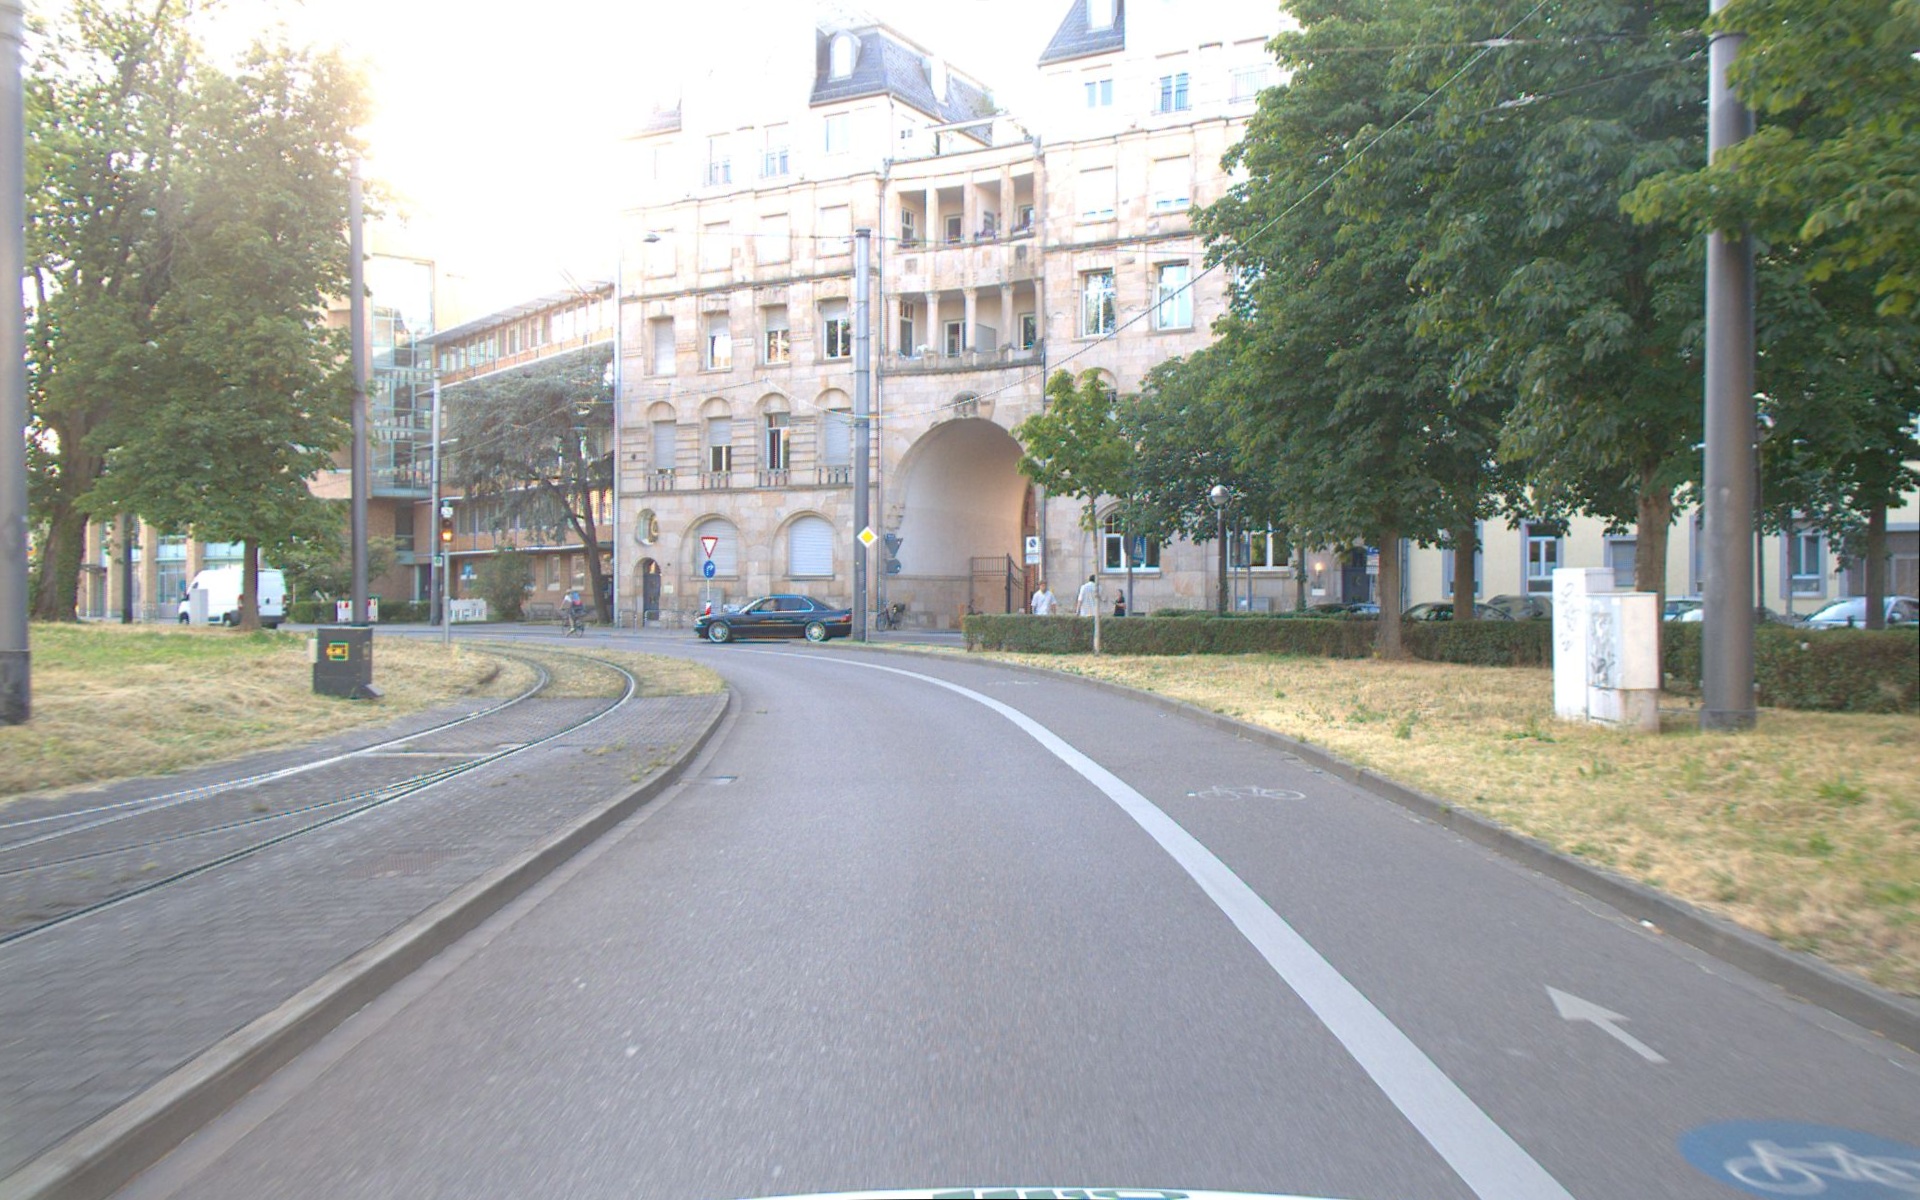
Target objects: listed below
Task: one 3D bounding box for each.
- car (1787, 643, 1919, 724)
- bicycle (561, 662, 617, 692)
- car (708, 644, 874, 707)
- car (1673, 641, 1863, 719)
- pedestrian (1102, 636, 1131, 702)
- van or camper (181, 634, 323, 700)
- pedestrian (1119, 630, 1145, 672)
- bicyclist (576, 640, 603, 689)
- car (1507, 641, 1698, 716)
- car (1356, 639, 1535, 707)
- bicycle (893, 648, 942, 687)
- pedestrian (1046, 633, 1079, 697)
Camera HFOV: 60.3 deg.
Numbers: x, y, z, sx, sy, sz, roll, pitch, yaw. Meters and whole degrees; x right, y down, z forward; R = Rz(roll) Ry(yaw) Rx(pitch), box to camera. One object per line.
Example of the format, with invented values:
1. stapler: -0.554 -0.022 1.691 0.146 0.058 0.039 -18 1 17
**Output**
1. car: 17.868 1.559 31.917 4.287 1.451 1.835 1 -2 -39
2. bicycle: -12.738 2.641 56.772 2.195 0.995 0.509 -1 -1 33
3. car: -4.955 2.219 48.950 4.655 1.793 1.821 0 -1 3
4. car: 16.390 1.585 33.472 4.287 1.451 1.835 1 -2 -39
5. pedestrian: 3.705 1.633 39.097 0.619 1.538 0.688 0 -1 11
6. van or camper: -28.936 2.687 67.501 6.194 2.516 2.605 -1 -1 37
7. pedestrian: 5.770 1.705 55.478 0.672 1.392 0.634 -1 -1 30
8. bicyclist: -12.711 2.219 56.757 0.759 1.671 0.509 -1 -1 33
9. car: 13.405 1.592 34.405 4.287 1.451 1.835 1 -2 -39
10. car: 11.107 1.641 37.721 4.287 1.451 1.835 1 -2 -39
11. bicycle: -1.623 2.587 63.319 0.611 1.431 2.404 -1 -1 34
12. pedestrian: 2.480 1.558 39.910 0.580 1.538 0.686 -1 -1 28
